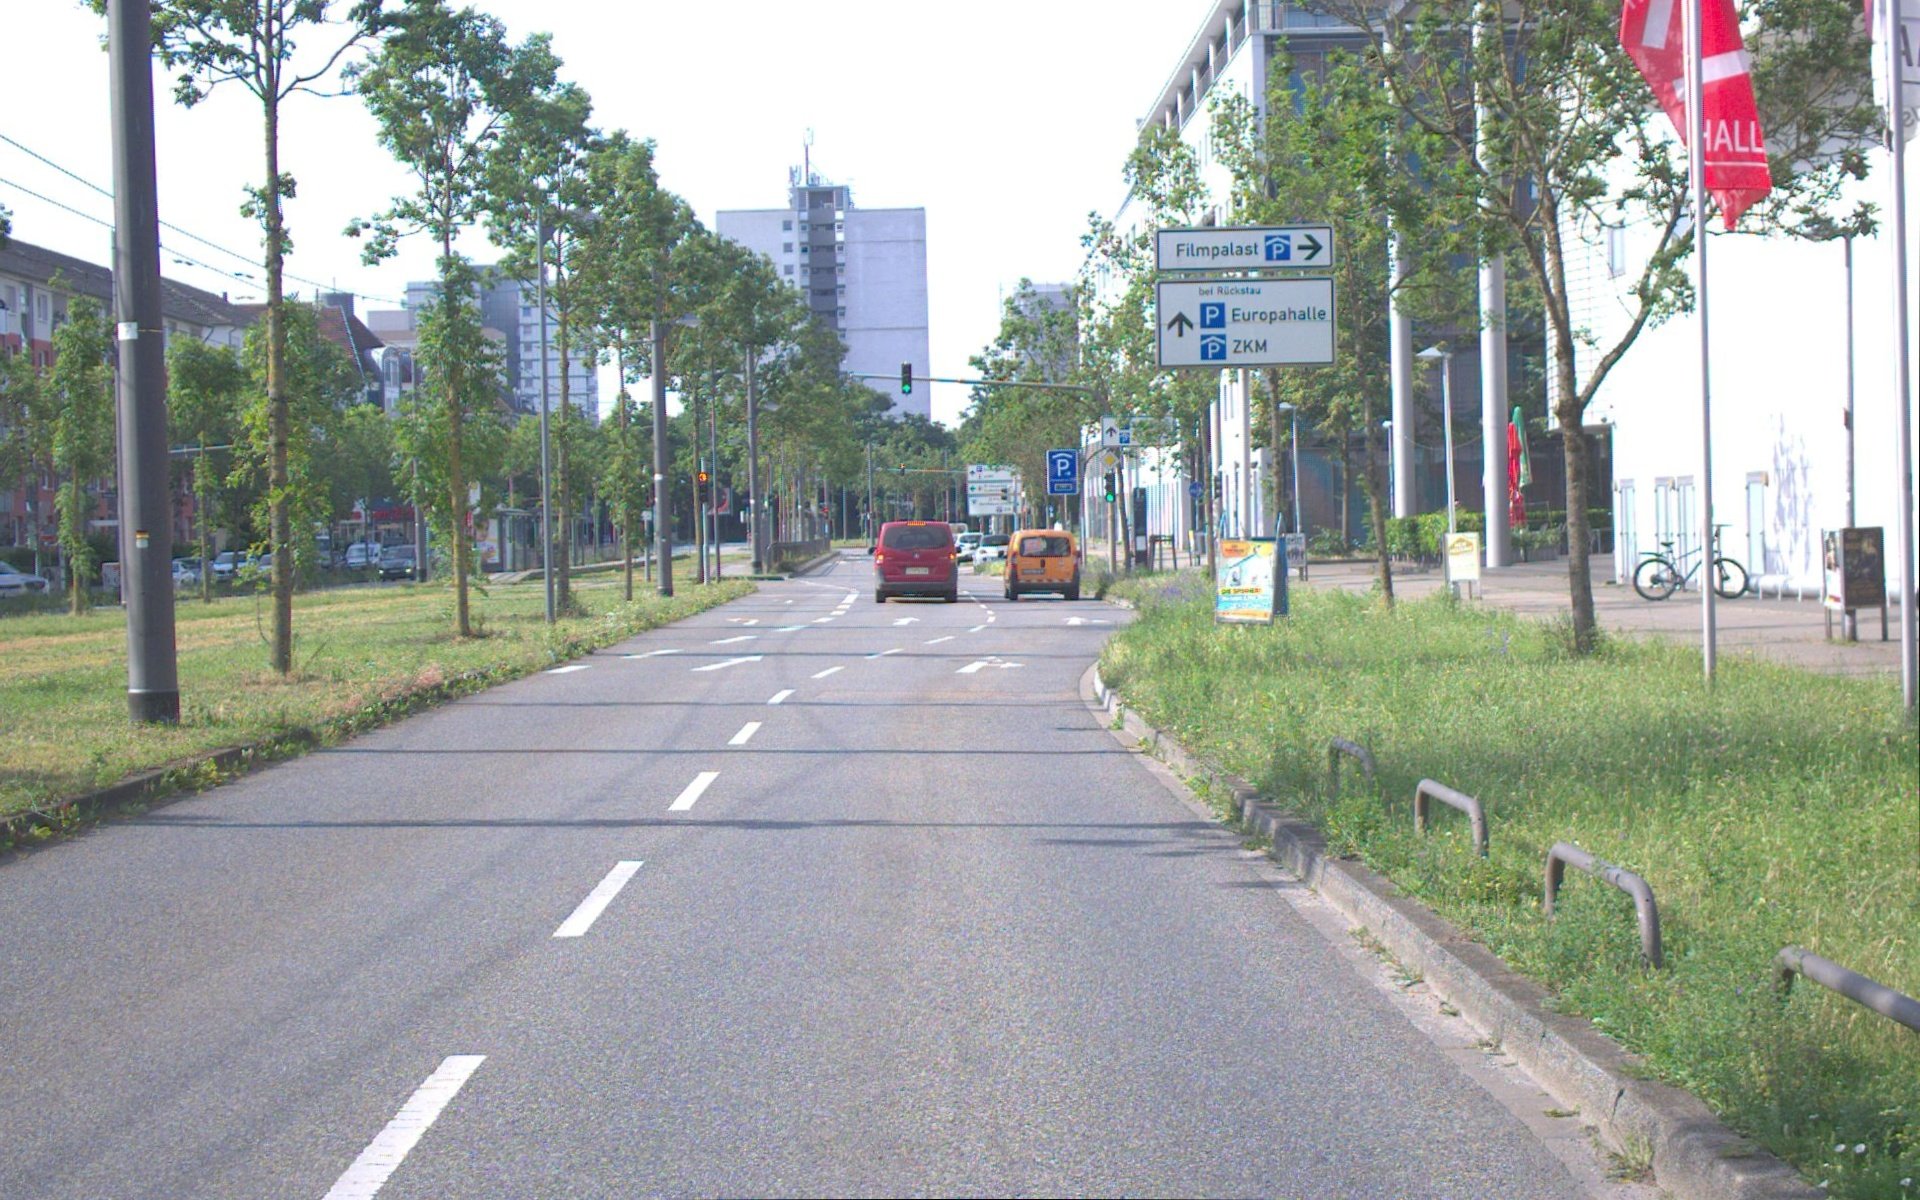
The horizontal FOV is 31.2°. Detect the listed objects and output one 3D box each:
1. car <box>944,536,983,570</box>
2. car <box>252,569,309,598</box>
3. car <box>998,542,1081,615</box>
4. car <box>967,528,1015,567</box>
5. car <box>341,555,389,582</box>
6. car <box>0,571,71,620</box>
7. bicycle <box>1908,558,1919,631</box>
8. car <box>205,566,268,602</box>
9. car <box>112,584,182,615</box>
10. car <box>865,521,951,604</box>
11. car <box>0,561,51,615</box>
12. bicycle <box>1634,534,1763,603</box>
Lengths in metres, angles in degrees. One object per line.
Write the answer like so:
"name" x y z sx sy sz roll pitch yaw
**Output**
"car" 0.149 -2.228 163.001 1.689 1.521 3.851 -3 1 -1
"car" -32.312 -0.812 163.532 1.980 1.356 4.070 0 1 -2
"car" 1.905 -0.543 83.262 1.875 1.690 3.973 -1 1 0
"car" 1.207 -2.101 136.824 1.720 1.514 3.782 -1 1 -2
"car" -32.809 -1.742 189.682 1.980 1.508 4.281 0 1 -2
"car" -29.300 -0.163 104.474 4.347 1.458 1.960 1 1 32
"bicycle" 12.818 -0.085 43.209 1.657 0.912 0.482 -1 1 0
"car" -32.330 -0.717 153.812 1.980 1.551 4.537 0 1 -2
"car" -31.812 -0.022 134.621 1.833 1.144 4.165 0 1 -2
"car" -1.226 -0.873 79.815 1.874 1.847 4.000 -1 1 -2
"car" -28.949 -0.327 100.849 4.459 1.509 1.996 0 2 36
"bicycle" 12.412 -0.532 57.815 2.009 1.099 0.675 -1 1 4
